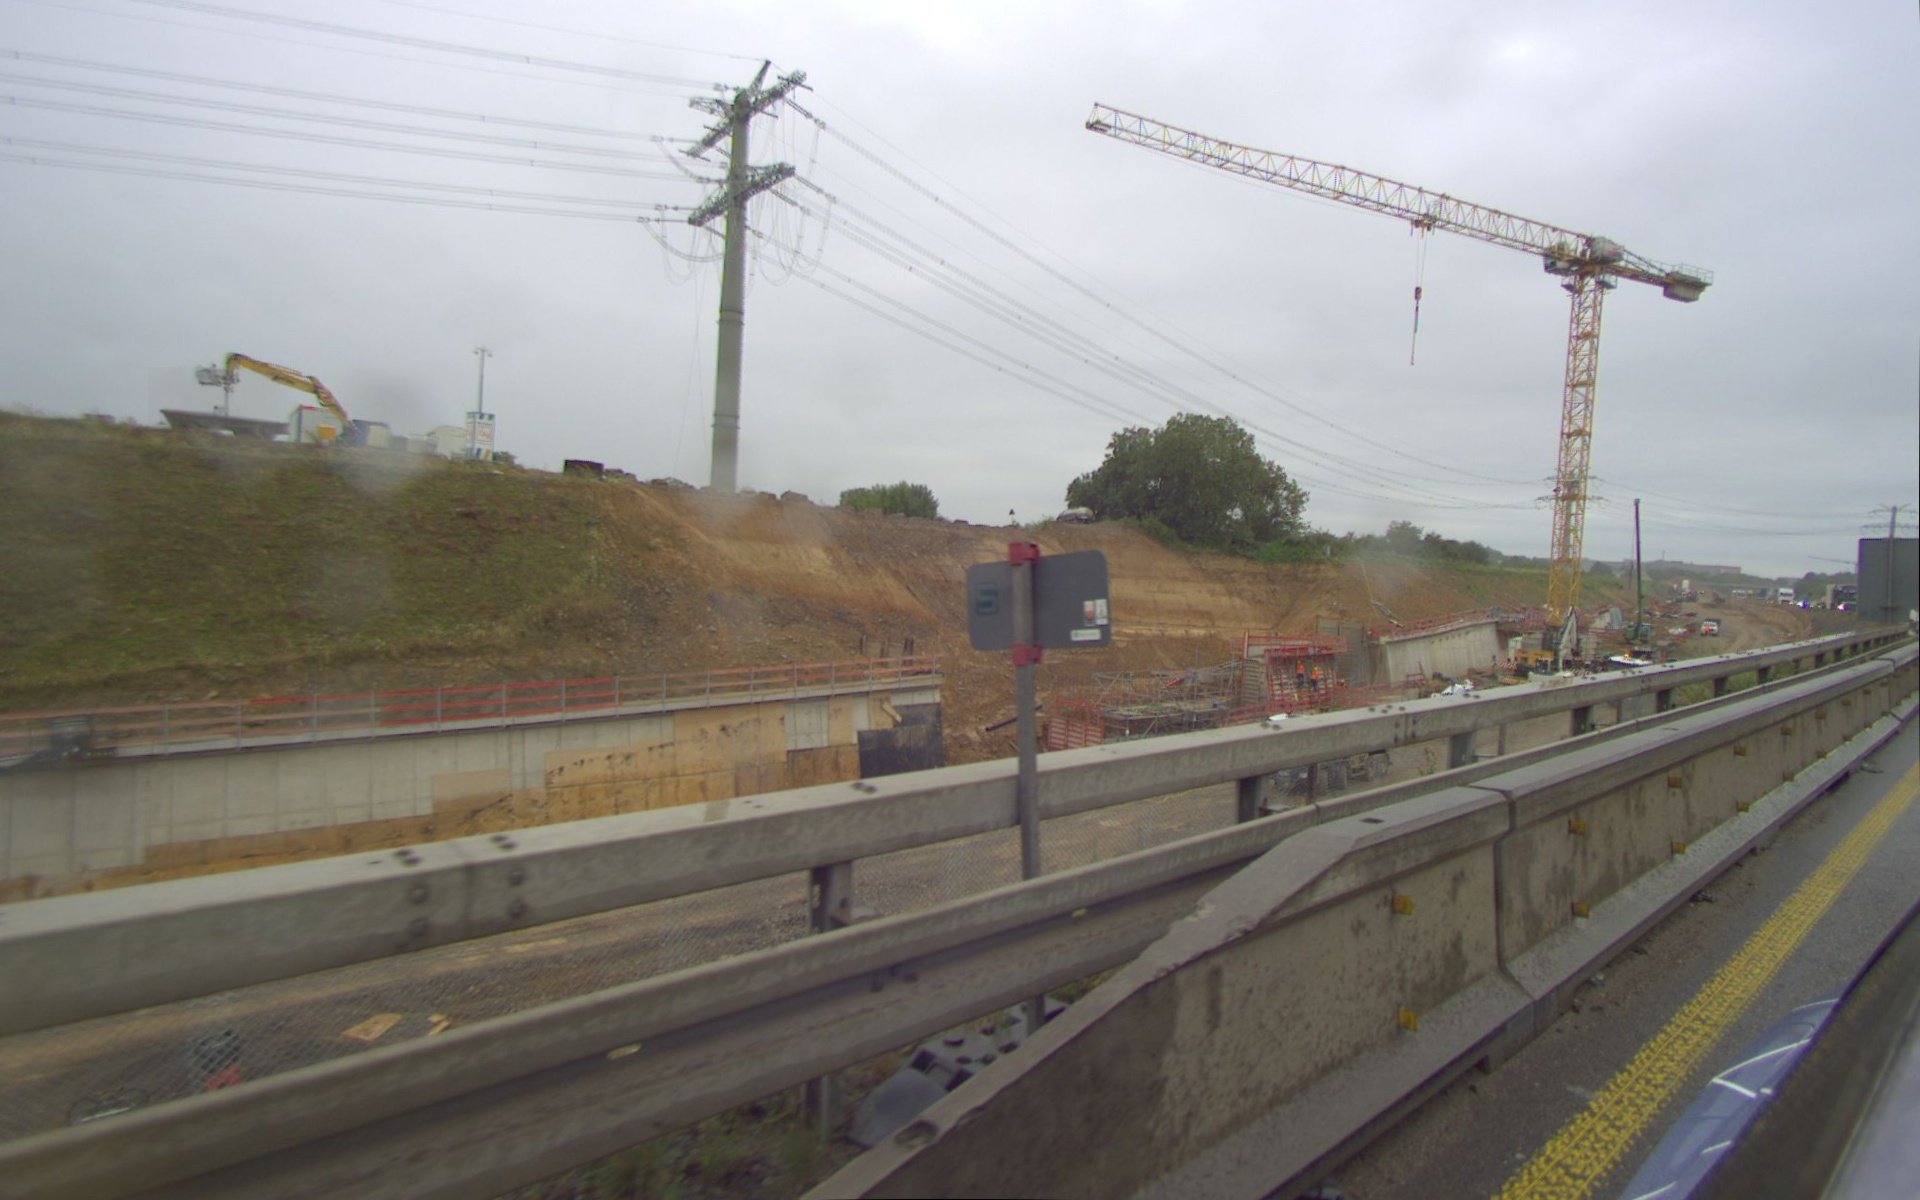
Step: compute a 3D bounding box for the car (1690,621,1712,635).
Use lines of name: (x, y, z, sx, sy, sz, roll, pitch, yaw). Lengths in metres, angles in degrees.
car: (96.366, 3.608, 131.615, 1.855, 1.638, 4.017, 3, 3, 43)

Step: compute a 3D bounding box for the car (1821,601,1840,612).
car: (120.678, 0.928, 140.259, 1.785, 1.445, 3.937, 0, 0, 44)

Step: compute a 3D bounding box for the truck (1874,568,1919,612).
truck: (99.439, -1.020, 105.864, 4.295, 4.399, 13.231, 0, 0, 36)

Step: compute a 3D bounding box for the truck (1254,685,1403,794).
truck: (17.433, 6.327, 47.505, 8.921, 3.655, 2.707, -2, 4, -42)

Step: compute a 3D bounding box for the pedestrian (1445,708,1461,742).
pedestrian: (28.050, 7.125, 57.586, 0.602, 1.790, 0.474, 6, 5, 44)

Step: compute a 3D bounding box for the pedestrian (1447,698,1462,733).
pedestrian: (29.154, 6.794, 59.637, 0.602, 1.928, 0.474, 4, 3, 44)

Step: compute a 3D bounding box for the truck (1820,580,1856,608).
truck: (125.517, -0.821, 144.610, 3.535, 3.943, 8.206, 0, 0, 43)

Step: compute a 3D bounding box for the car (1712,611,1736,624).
car: (115.158, 2.604, 152.539, 2.345, 1.638, 4.784, 3, 3, 43)

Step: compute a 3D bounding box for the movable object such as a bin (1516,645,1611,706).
movable object such as a bin: (42.054, 5.164, 70.443, 6.530, 3.466, 3.518, -2, 2, -37)

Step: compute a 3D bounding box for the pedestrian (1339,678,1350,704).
pedestrian: (27.917, 6.584, 73.456, 0.488, 1.781, 0.474, 4, 3, 44)

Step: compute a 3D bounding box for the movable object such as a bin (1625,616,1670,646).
movable object such as a bin: (81.588, 3.616, 120.128, 3.496, 2.915, 3.937, 9, 7, 44)

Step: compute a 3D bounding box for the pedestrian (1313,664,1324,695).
pedestrian: (25.205, 5.584, 71.150, 0.488, 2.127, 0.474, -6, -4, 44)

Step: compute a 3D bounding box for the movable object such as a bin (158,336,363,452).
movable object such as a bin: (-34.087, -9.892, 49.552, 8.029, 4.258, 3.108, 0, 2, -38)

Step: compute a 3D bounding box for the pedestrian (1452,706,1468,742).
pedestrian: (28.616, 7.114, 57.944, 0.602, 1.928, 0.604, 3, 3, 44)

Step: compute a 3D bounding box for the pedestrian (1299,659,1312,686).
pedestrian: (23.924, 5.034, 70.160, 0.570, 1.827, 0.490, -3, -3, -5)

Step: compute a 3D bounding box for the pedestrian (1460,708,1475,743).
pedestrian: (29.366, 7.246, 58.601, 0.602, 1.928, 0.474, 4, 3, 44)
